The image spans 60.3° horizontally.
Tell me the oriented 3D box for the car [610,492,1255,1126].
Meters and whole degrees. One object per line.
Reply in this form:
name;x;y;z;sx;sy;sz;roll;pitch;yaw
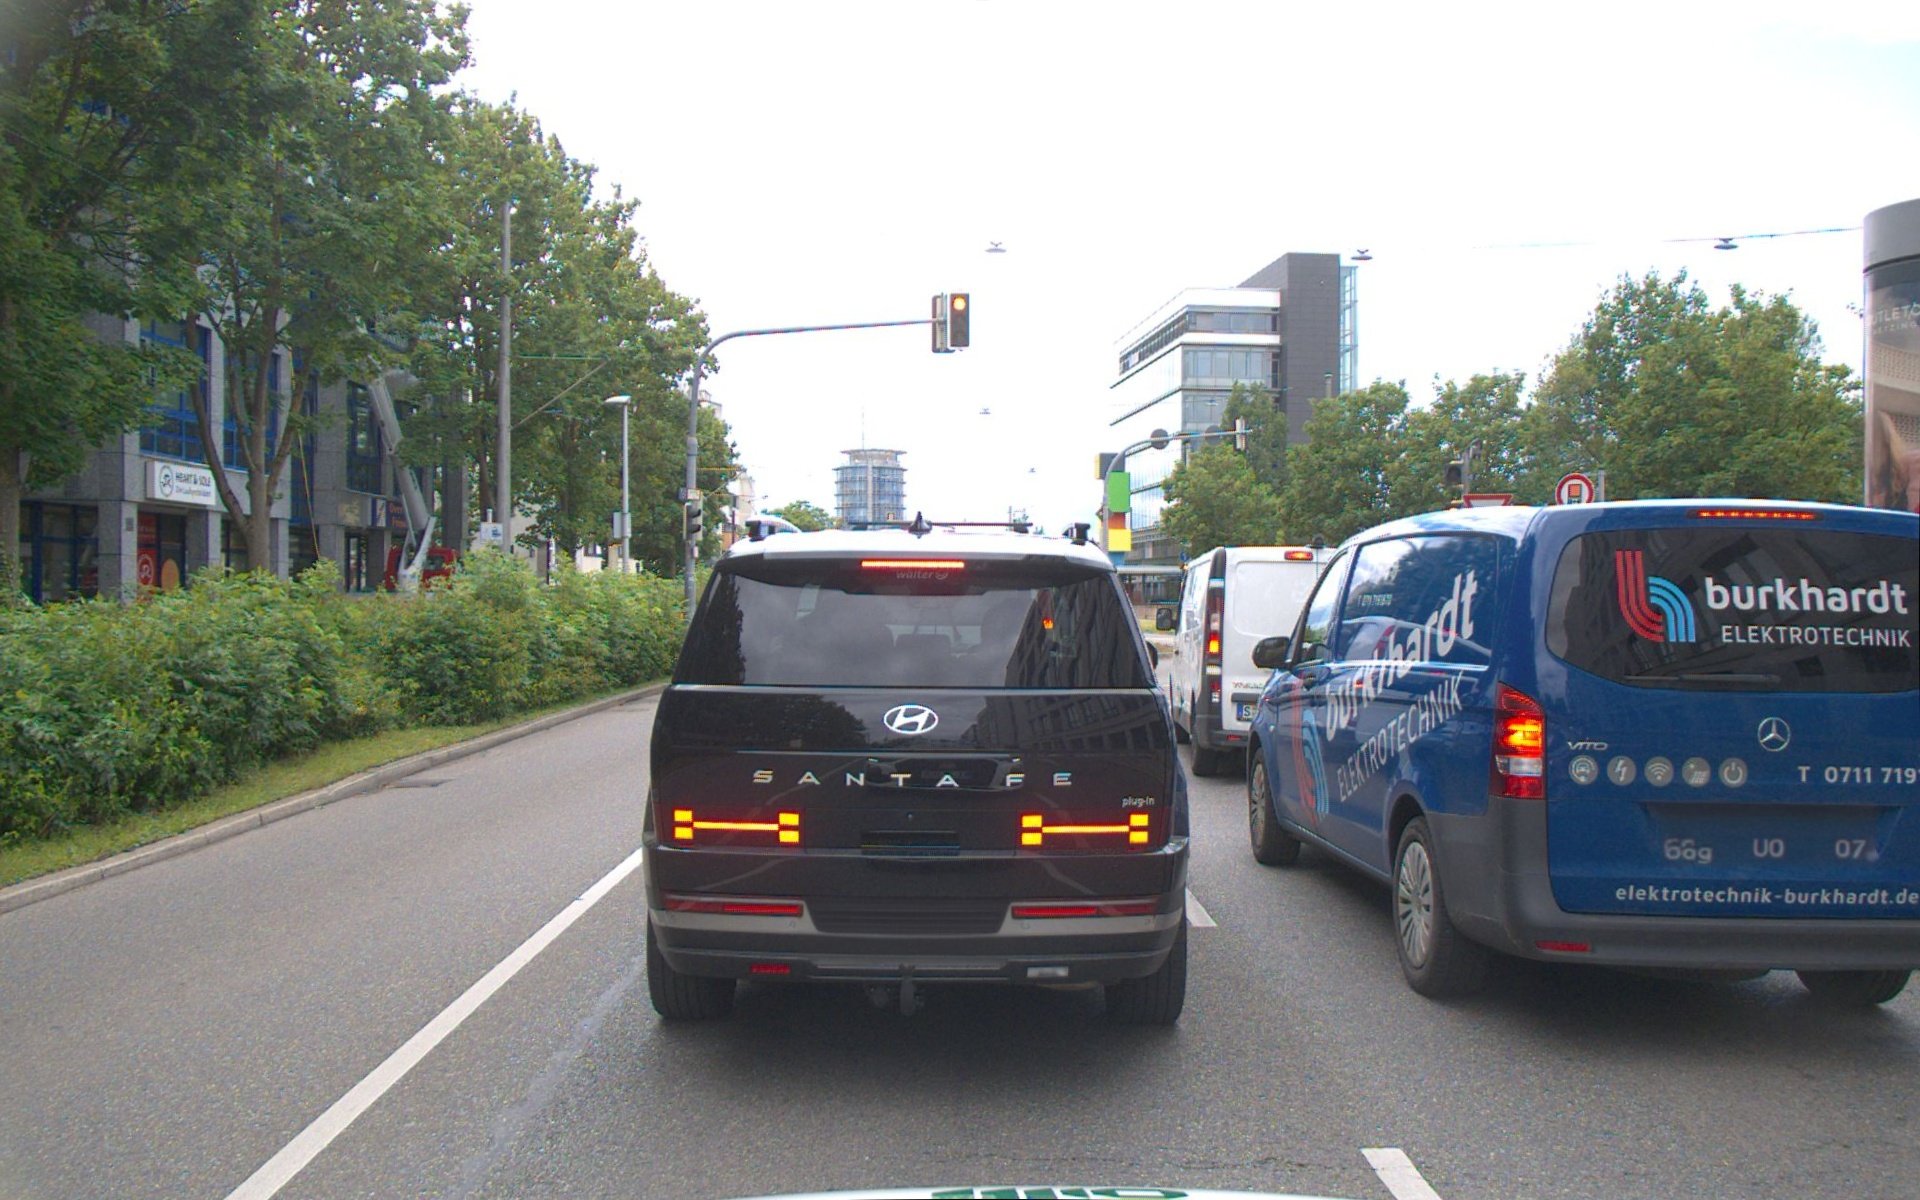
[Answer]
car;-0.099;0.582;6.640;1.831;1.791;3.879;0;0;-1

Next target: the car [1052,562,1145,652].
car;3.321;0.175;40.314;1.952;2.049;4.000;1;0;0

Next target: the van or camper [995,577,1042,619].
van or camper;3.776;-0.087;105.666;1.951;2.591;6.583;0;0;12

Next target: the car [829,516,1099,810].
car;0.000;0.430;13.441;1.876;2.038;3.879;0;0;-1

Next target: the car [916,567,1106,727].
car;0.750;0.535;20.497;1.738;1.747;4.342;1;0;10

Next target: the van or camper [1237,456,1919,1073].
van or camper;2.664;0.508;7.754;1.822;1.944;5.031;0;0;-1

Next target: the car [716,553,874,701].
car;-2.375;0.379;24.927;1.953;1.982;4.735;-1;0;-1

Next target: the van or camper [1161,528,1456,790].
van or camper;3.041;0.460;15.451;1.952;2.049;4.654;1;0;3

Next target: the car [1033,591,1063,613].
car;7.013;0.177;131.917;1.954;1.713;3.997;1;0;-3
